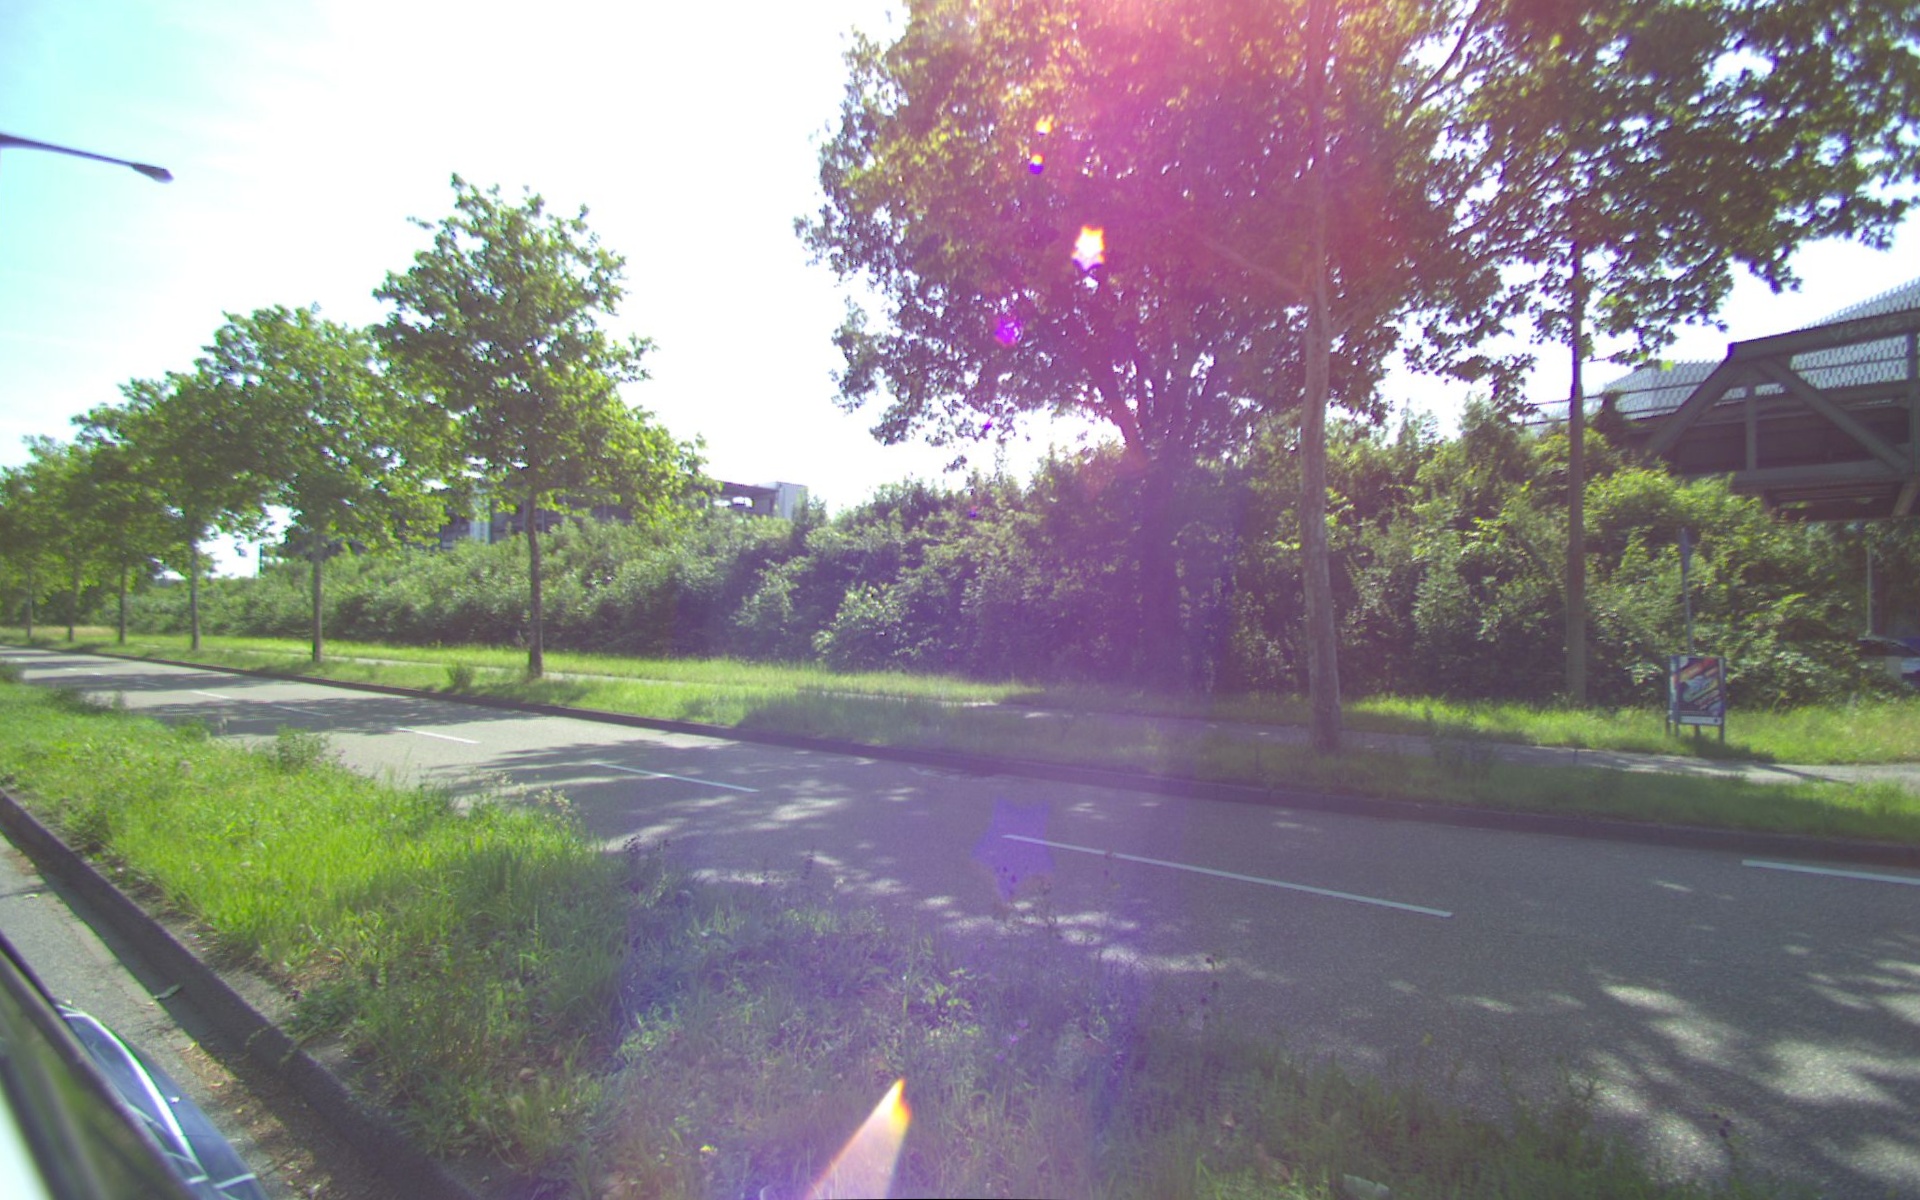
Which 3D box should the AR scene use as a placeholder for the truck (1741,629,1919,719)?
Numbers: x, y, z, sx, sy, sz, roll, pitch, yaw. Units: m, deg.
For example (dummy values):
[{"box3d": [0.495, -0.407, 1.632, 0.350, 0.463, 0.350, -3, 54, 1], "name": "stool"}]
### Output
[{"box3d": [21.328, 1.643, 23.845, 2.007, 1.833, 5.316, -2, -2, 5], "name": "truck"}]
